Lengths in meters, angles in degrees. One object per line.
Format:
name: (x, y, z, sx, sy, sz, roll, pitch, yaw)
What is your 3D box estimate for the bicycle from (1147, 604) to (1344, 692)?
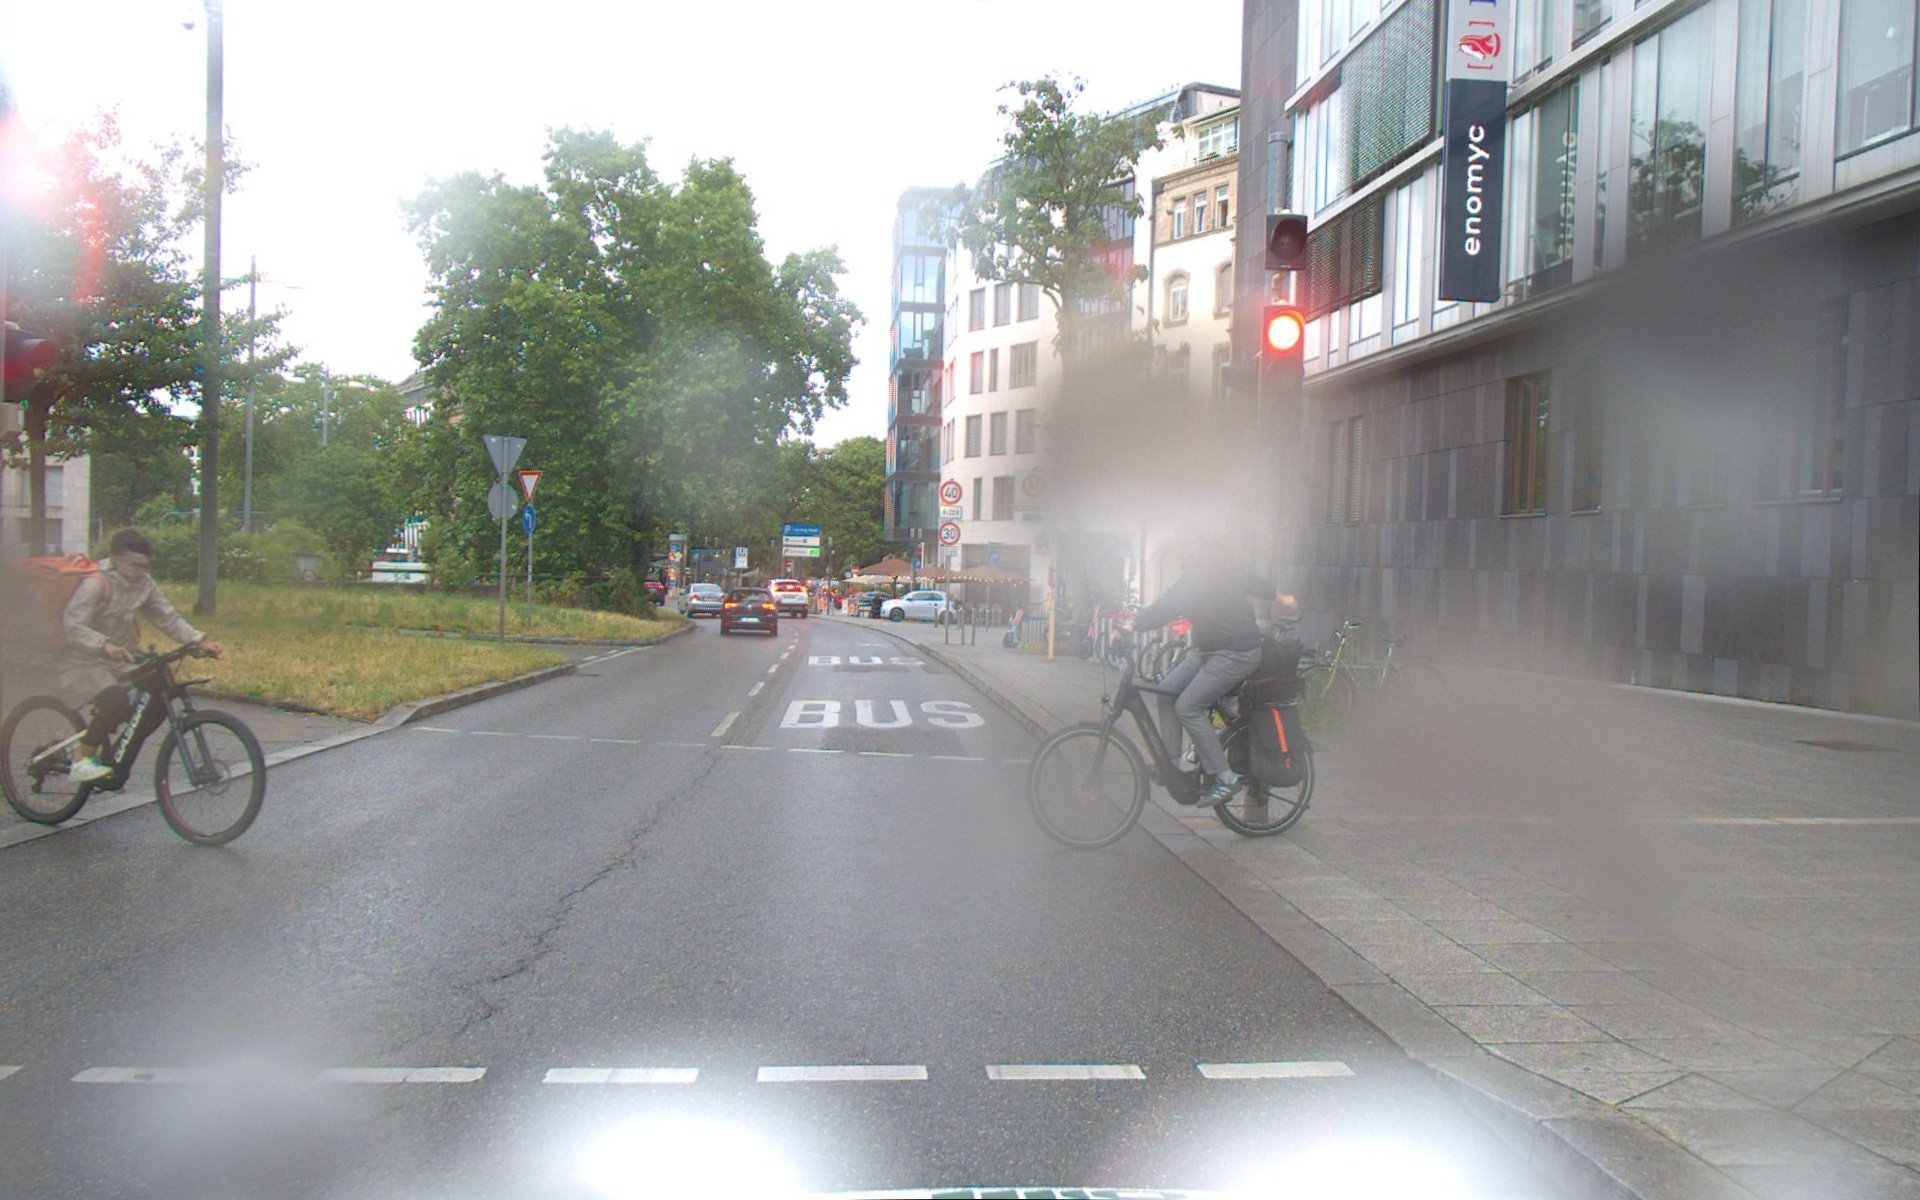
bicycle: (3.771, 0.629, 21.917, 2.487, 1.106, 0.677, 1, 0, -6)

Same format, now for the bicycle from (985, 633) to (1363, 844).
bicycle: (1.240, 0.798, 9.797, 2.086, 1.165, 0.762, 1, 0, -8)

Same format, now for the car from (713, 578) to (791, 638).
car: (-6.434, 0.218, 51.538, 2.119, 1.735, 4.550, 2, 0, -4)

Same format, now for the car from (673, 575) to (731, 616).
car: (-11.211, -0.222, 71.657, 1.914, 1.675, 4.226, 2, 1, -16)

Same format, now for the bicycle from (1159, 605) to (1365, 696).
bicycle: (3.839, 0.640, 21.107, 2.487, 1.106, 0.677, 1, 0, -6)

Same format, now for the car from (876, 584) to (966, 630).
car: (-1.841, 0.305, 76.659, 3.911, 1.675, 1.998, 6, 0, -5)

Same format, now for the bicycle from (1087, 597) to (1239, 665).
bicycle: (3.465, 0.525, 28.343, 2.487, 1.106, 0.677, 1, 0, -6)

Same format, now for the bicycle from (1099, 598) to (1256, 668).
bicycle: (3.600, 0.545, 27.456, 2.487, 1.106, 0.677, 1, 0, -6)

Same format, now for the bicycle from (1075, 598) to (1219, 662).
bicycle: (3.362, 0.536, 29.810, 2.487, 1.106, 0.627, 1, 0, -6)

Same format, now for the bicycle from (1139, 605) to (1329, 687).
bicycle: (3.764, 0.626, 22.783, 2.487, 1.078, 0.677, 1, 0, -6)

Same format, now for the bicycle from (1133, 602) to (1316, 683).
bicycle: (3.779, 0.605, 23.692, 2.487, 1.106, 0.677, 1, 0, -6)

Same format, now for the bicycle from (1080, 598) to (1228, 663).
bicycle: (3.408, 0.532, 29.089, 2.487, 1.106, 0.677, 1, 0, -6)

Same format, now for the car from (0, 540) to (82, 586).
car: (-33.212, -1.323, 59.275, 1.772, 1.512, 4.373, 3, 0, -10)

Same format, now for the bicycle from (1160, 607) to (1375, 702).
bicycle: (3.755, 0.664, 20.251, 2.487, 1.106, 0.677, 1, 0, -6)

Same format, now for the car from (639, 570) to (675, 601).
car: (-16.993, -0.833, 92.763, 1.910, 1.675, 3.989, 2, 0, -11)

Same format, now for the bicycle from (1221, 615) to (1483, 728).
bicycle: (3.950, 0.715, 16.748, 2.487, 1.075, 0.677, 1, 0, -6)

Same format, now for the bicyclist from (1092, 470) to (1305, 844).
bicyclist: (1.396, 0.330, 9.824, 1.061, 2.119, 0.762, 1, 0, -8)

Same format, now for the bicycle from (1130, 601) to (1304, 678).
bicycle: (3.851, 0.584, 24.890, 2.487, 1.106, 0.677, 1, 0, -6)

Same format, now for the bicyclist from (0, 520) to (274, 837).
bicyclist: (-4.733, 0.408, 9.329, 1.109, 1.609, 1.015, 4, 0, 22)

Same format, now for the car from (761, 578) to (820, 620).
car: (-7.584, -0.080, 73.591, 2.141, 1.730, 3.988, 2, 0, -12)

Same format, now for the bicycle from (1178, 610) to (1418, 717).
bicycle: (3.705, 0.691, 18.221, 2.487, 1.106, 0.677, 1, 0, -6)

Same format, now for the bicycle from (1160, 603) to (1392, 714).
bicycle: (3.618, 0.666, 19.023, 2.487, 1.106, 0.677, 3, 0, -6)

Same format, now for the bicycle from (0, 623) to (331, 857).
bicycle: (-4.714, 0.729, 9.293, 2.018, 1.133, 1.011, 2, -1, 22)

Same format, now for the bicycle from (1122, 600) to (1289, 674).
bicycle: (3.825, 0.576, 25.868, 2.487, 1.106, 0.677, 1, 0, -6)

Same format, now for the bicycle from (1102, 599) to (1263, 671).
bicycle: (3.577, 0.565, 26.703, 2.487, 1.106, 0.677, 1, 0, -6)
